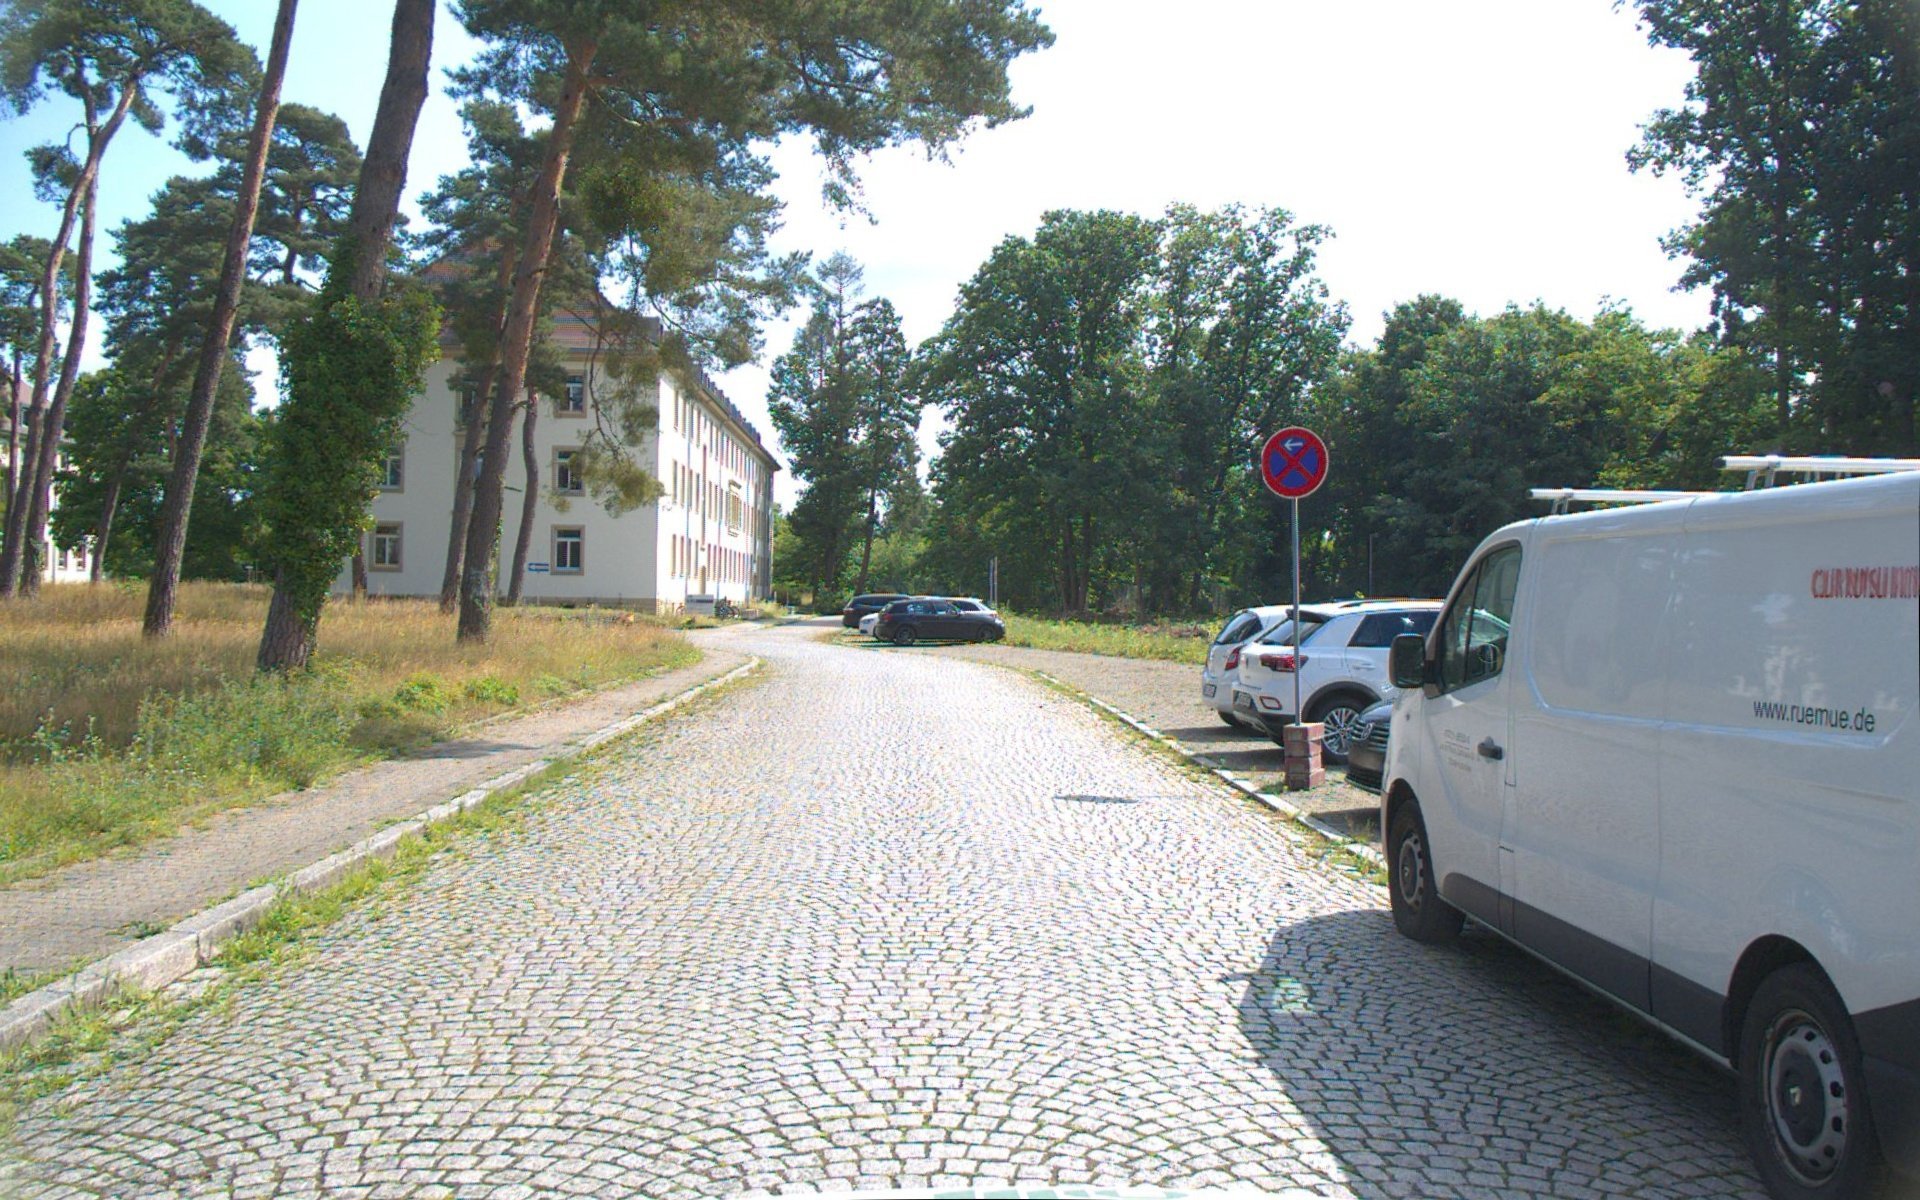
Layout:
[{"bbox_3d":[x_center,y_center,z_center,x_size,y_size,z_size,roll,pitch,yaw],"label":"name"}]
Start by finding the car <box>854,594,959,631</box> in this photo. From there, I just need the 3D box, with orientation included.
[{"bbox_3d":[-2.271,0.519,69.024,4.311,1.510,1.764,0,-1,-4],"label":"car"}]

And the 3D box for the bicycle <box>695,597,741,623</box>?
[{"bbox_3d":[-11.905,0.491,81.364,2.176,1.282,0.623,1,0,0],"label":"bicycle"}]

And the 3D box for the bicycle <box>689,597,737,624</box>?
[{"bbox_3d":[-11.843,0.495,79.361,2.175,1.282,0.623,1,0,4],"label":"bicycle"}]

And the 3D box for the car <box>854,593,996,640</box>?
[{"bbox_3d":[-1.213,0.552,56.399,4.766,1.498,1.873,0,1,-4],"label":"car"}]

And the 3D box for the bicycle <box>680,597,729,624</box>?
[{"bbox_3d":[-11.975,0.492,77.613,2.175,1.282,0.623,1,0,4],"label":"bicycle"}]

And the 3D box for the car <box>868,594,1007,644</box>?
[{"bbox_3d":[-0.753,0.593,53.319,4.246,1.526,1.825,-1,1,-11],"label":"car"}]

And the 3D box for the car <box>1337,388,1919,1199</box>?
[{"bbox_3d":[3.053,0.573,6.172,1.875,2.089,5.677,1,0,-1],"label":"car"}]

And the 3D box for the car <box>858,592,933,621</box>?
[{"bbox_3d":[-3.538,0.350,91.795,4.102,1.570,1.820,-1,-1,-1],"label":"car"}]

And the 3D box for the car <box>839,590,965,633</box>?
[{"bbox_3d":[-2.249,0.445,63.708,4.757,1.580,1.878,0,-1,-4],"label":"car"}]

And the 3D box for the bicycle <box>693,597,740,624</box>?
[{"bbox_3d":[-11.845,0.491,80.357,2.176,1.282,0.623,1,0,0],"label":"bicycle"}]

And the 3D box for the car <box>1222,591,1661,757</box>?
[{"bbox_3d":[4.791,0.706,16.773,3.909,1.533,1.745,-1,0,-5],"label":"car"}]

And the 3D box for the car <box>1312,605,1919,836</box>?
[{"bbox_3d":[5.018,0.819,12.325,4.368,1.501,1.743,-1,0,-7],"label":"car"}]

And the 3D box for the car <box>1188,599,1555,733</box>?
[{"bbox_3d":[4.881,0.754,19.912,3.963,1.489,1.702,-1,0,-5],"label":"car"}]
